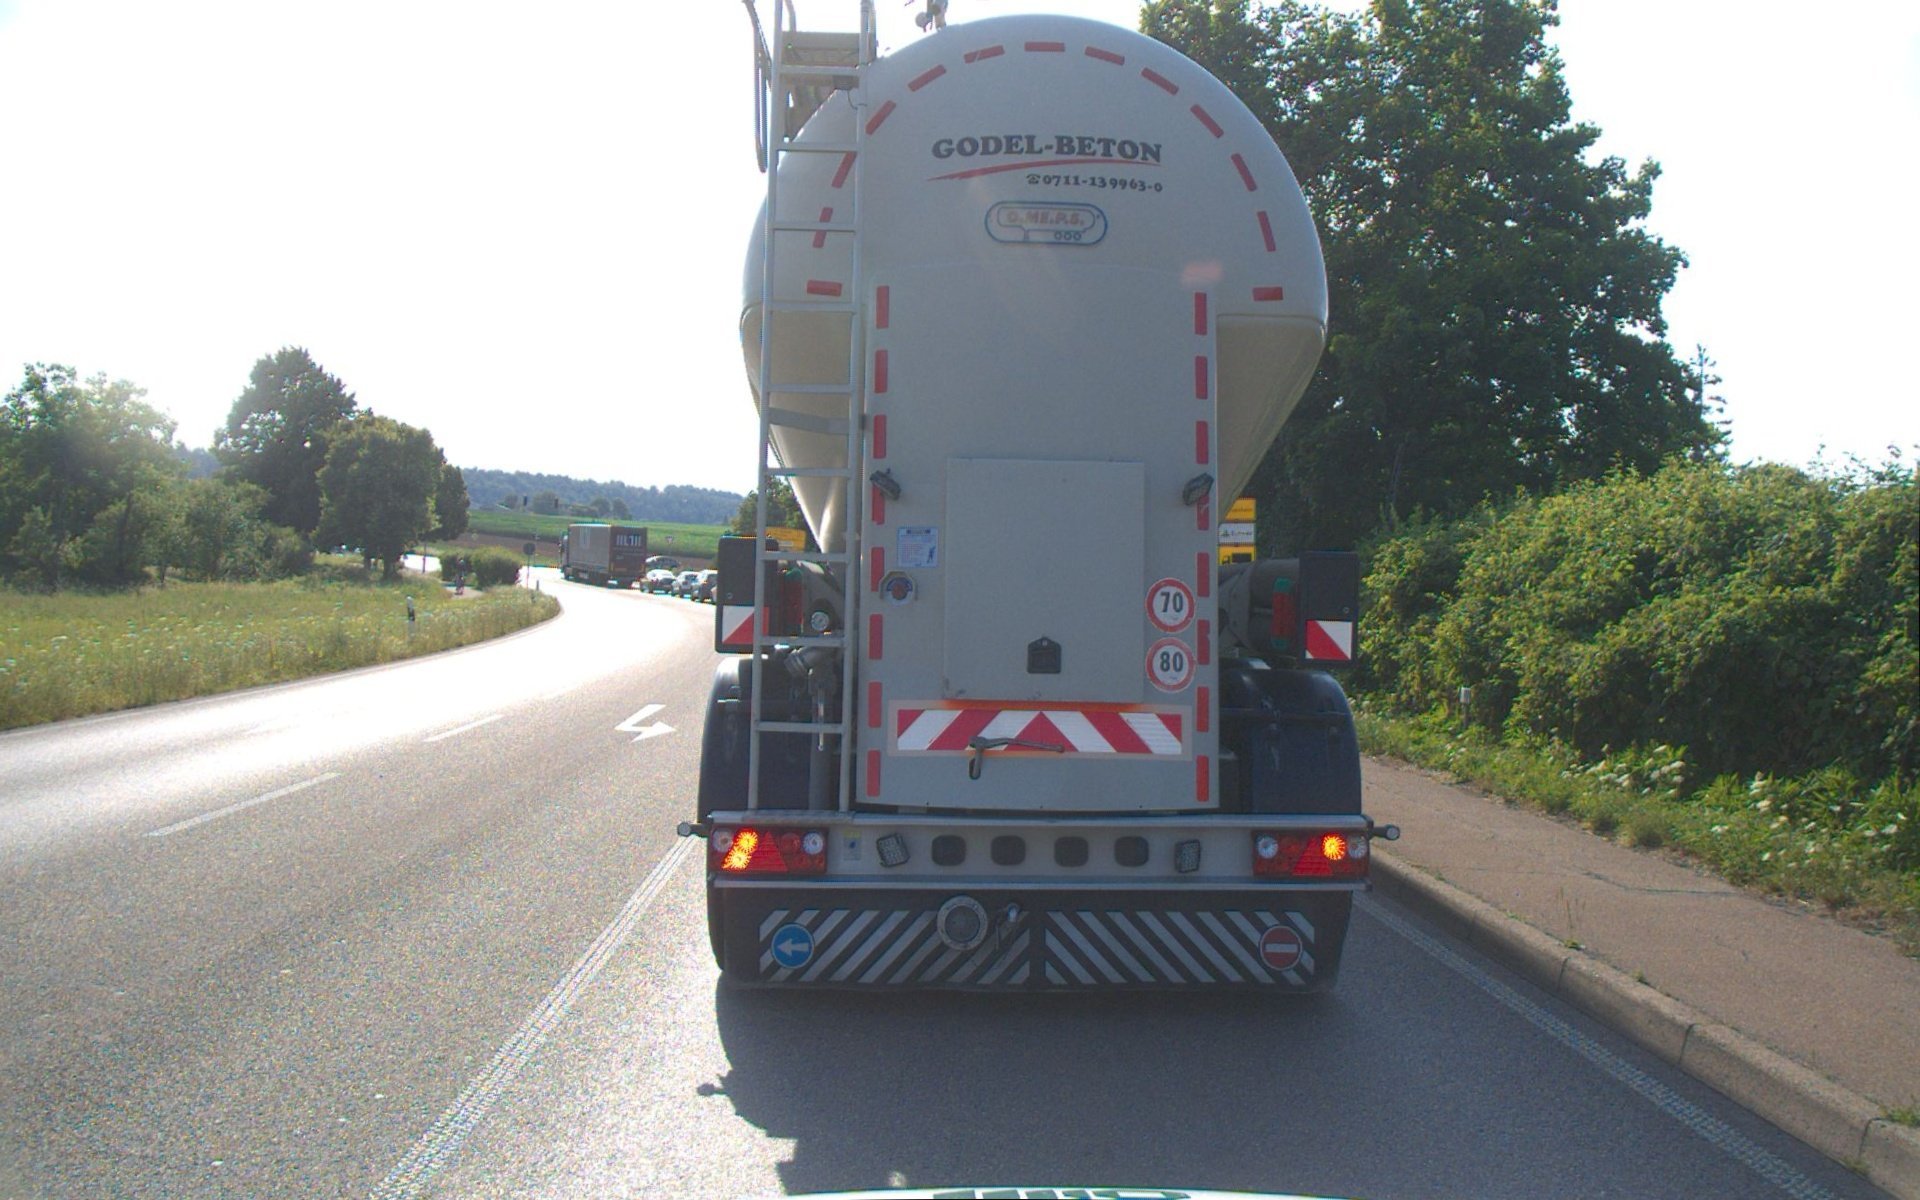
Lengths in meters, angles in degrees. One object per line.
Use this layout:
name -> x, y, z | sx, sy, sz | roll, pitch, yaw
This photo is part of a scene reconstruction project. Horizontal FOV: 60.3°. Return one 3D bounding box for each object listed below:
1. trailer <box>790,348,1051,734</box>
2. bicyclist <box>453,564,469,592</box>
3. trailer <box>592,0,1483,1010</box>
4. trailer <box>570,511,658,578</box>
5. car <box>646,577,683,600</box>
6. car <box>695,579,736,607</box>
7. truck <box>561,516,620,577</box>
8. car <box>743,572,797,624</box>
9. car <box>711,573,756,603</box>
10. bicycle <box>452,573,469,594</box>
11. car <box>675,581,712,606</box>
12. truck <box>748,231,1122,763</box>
trailer -> -0.532, -0.729, 26.380 | 2.895, 4.390, 14.173 | 2, 0, -1
bicyclist -> -26.577, -1.166, 88.080 | 0.623, 1.444, 0.689 | 3, 0, -9
trailer -> -0.017, -0.739, 10.306 | 2.852, 4.076, 9.923 | 1, 0, -4
trailer -> -25.086, -3.905, 119.223 | 3.331, 4.426, 14.190 | 2, 0, -23
car -> -18.205, -0.713, 101.836 | 1.743, 1.226, 3.408 | -6, 3, -18
car -> -12.939, -0.398, 87.391 | 1.556, 1.364, 3.408 | 2, 0, -18
truck -> -28.345, -4.063, 126.739 | 3.331, 4.426, 5.664 | 2, 0, -24
car -> -7.724, -0.101, 67.015 | 1.828, 2.049, 3.709 | 1, 0, -11
car -> -11.150, -0.618, 81.296 | 1.556, 1.364, 3.408 | 2, 0, -18
bicycle -> -26.592, -0.870, 88.088 | 0.623, 1.093, 1.667 | 3, 0, -9
car -> -15.420, -0.387, 95.562 | 1.556, 1.364, 3.408 | 2, 0, -18
truck -> -0.303, -0.793, 14.885 | 2.852, 4.076, 4.057 | 1, 0, -4
